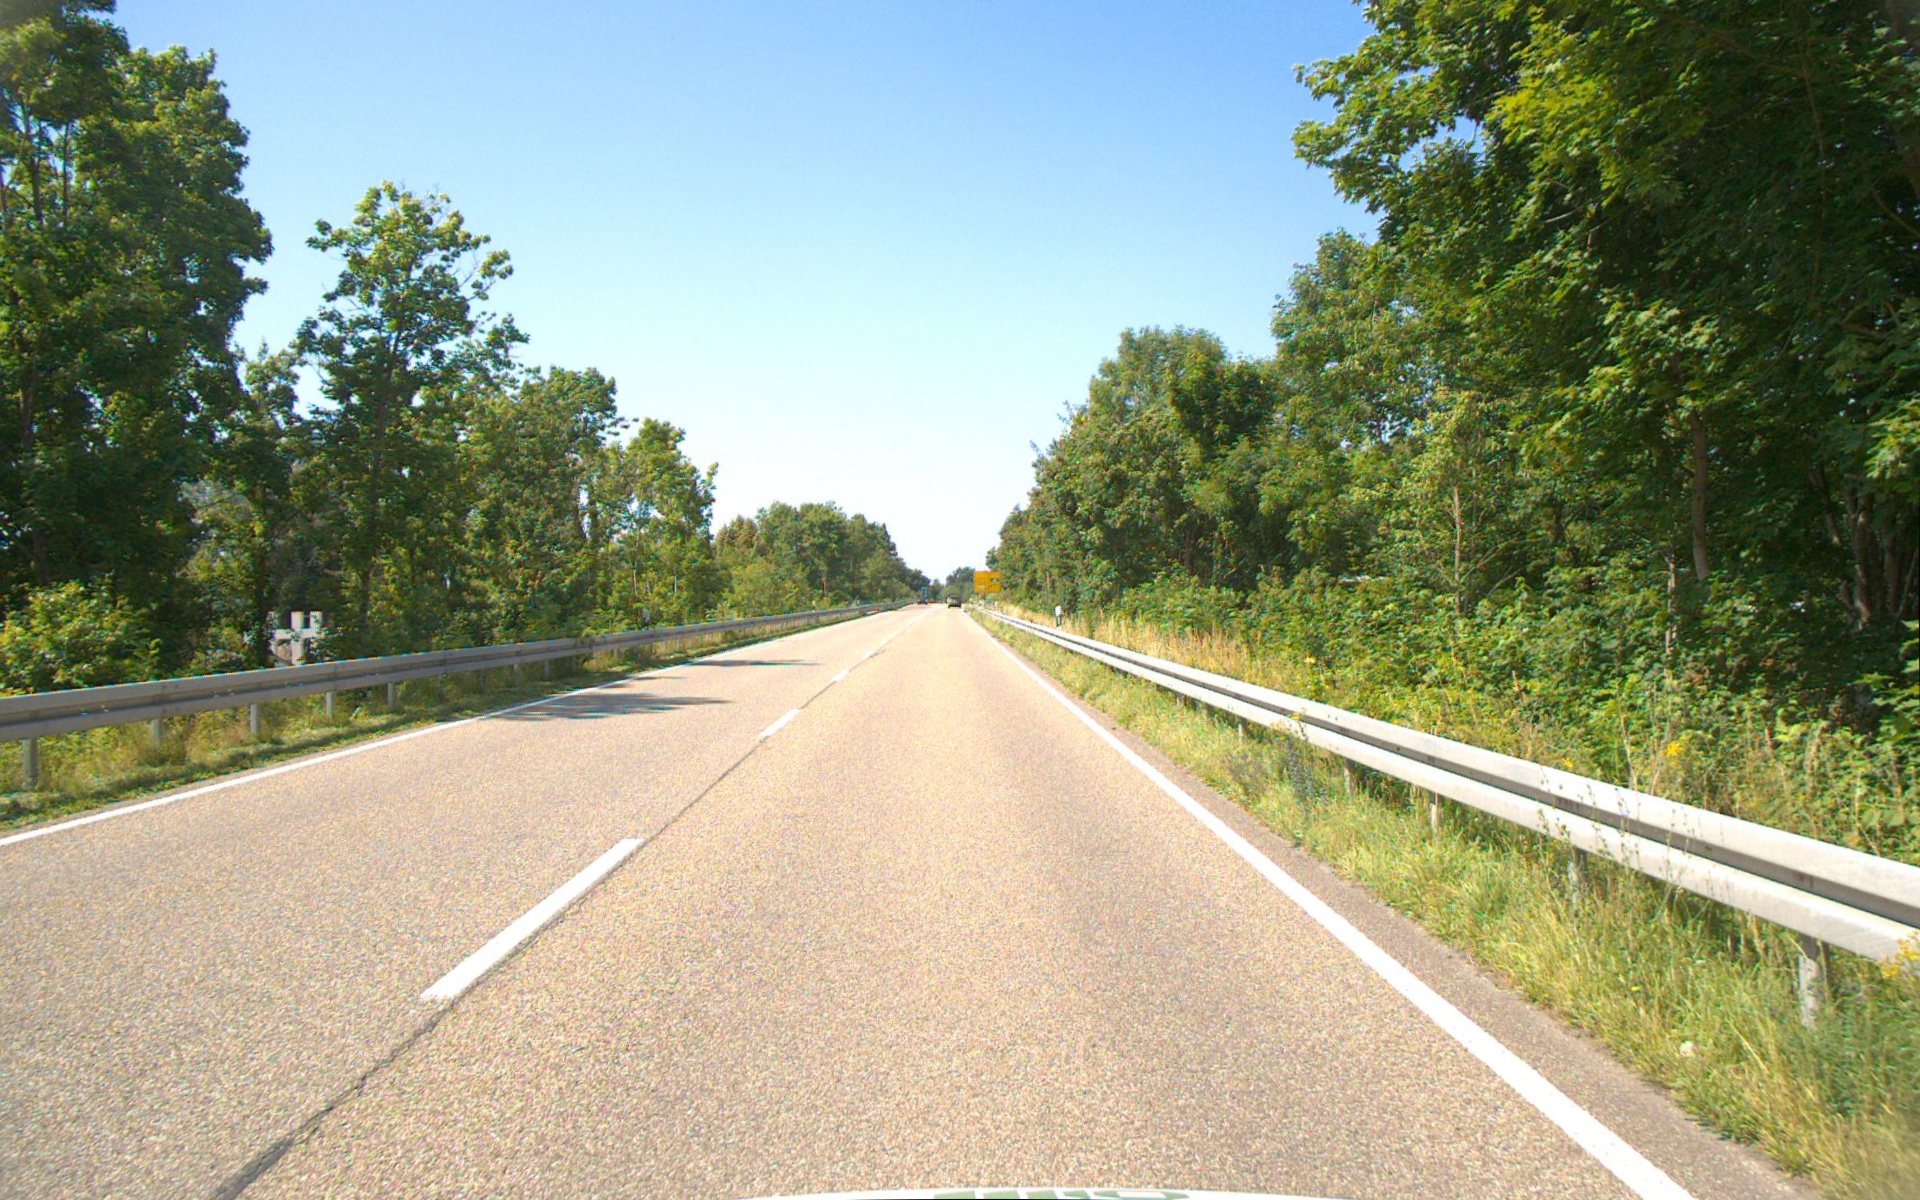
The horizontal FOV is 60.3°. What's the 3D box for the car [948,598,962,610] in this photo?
[{"bbox_3d":[-0.665,0.528,220.997,1.705,1.496,3.693,0,0,1],"label":"car"}]
